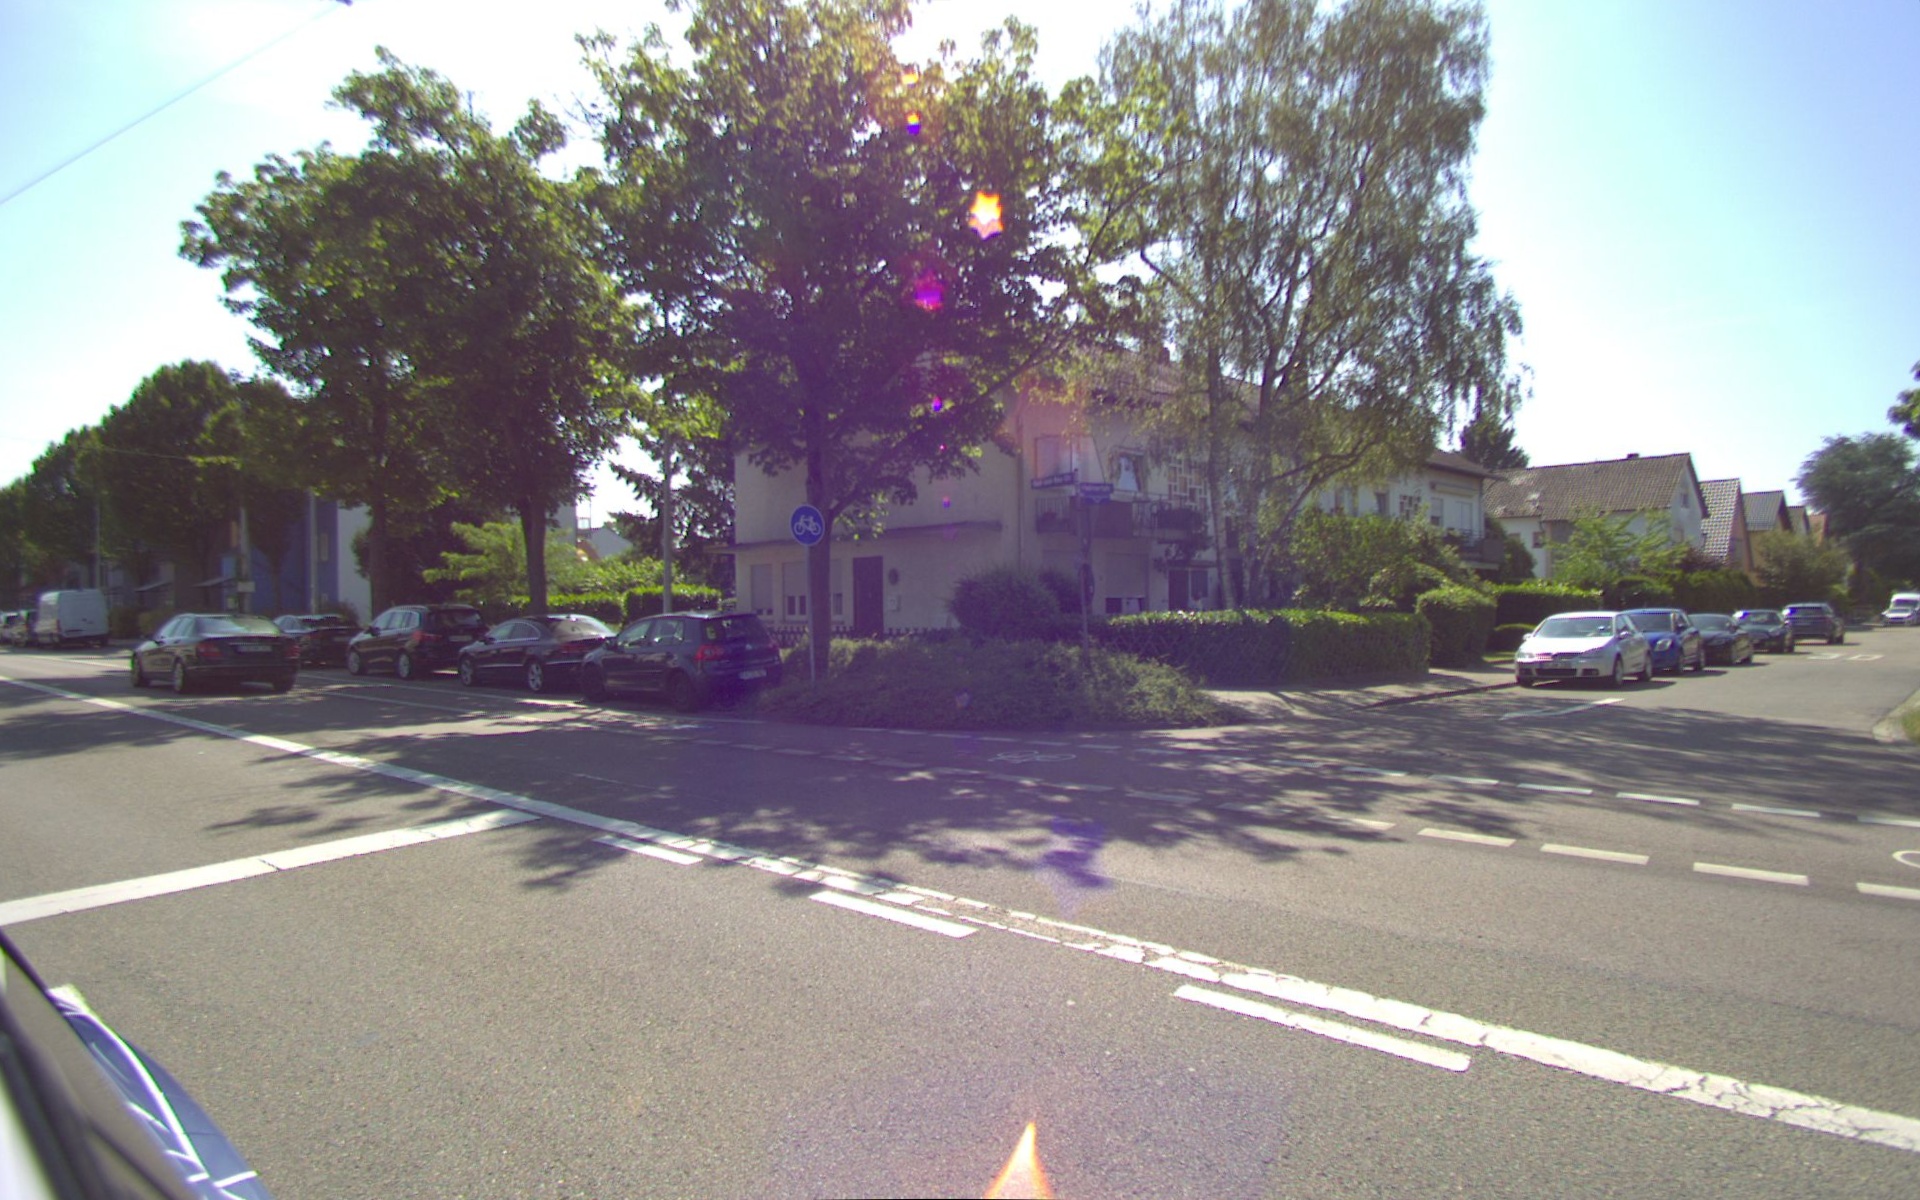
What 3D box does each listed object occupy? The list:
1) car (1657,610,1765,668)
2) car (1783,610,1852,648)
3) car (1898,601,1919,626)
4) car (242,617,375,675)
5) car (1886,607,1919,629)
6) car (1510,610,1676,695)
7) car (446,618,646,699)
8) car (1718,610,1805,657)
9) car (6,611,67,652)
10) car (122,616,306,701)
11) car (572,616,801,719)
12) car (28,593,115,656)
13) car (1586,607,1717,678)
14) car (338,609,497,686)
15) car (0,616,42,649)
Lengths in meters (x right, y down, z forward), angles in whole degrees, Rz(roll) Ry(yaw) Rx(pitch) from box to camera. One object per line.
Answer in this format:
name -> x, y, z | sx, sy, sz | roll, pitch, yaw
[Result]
car -> 20.486, 1.012, 27.551 | 3.940, 1.467, 1.766 | 1, -1, -44
car -> 34.421, 1.120, 40.598 | 3.940, 1.467, 1.766 | 1, -1, -44
car -> 79.961, 1.138, 84.541 | 3.938, 2.029, 2.003 | 0, -1, -42
car -> -17.737, 1.209, 27.482 | 4.451, 1.447, 1.659 | -1, -1, 38
car -> 67.464, 1.265, 72.136 | 3.855, 1.541, 1.746 | 0, -1, -42
car -> 12.786, 0.992, 20.355 | 3.939, 1.537, 1.809 | 1, -2, -42
car -> -8.134, 1.054, 19.697 | 4.577, 1.405, 1.679 | -1, -1, 40
car -> 26.632, 1.073, 33.596 | 3.940, 1.467, 1.766 | 1, -1, -44
car -> -47.974, 1.614, 52.556 | 4.454, 1.950, 1.658 | -1, 3, 40
car -> -13.976, 1.024, 18.870 | 4.301, 1.420, 1.767 | -1, -2, 40
car -> -4.528, 0.998, 16.421 | 4.080, 1.462, 1.599 | -1, -1, 41
car -> -41.553, 1.114, 47.280 | 6.081, 2.671, 1.992 | -1, 2, 40
car -> 16.395, 0.948, 23.922 | 3.940, 1.536, 1.809 | 1, -1, -44
car -> -12.508, 1.029, 23.235 | 4.236, 1.625, 1.659 | -1, -1, 38
car -> -52.392, 1.782, 56.056 | 4.144, 1.681, 1.658 | -1, 3, 40
